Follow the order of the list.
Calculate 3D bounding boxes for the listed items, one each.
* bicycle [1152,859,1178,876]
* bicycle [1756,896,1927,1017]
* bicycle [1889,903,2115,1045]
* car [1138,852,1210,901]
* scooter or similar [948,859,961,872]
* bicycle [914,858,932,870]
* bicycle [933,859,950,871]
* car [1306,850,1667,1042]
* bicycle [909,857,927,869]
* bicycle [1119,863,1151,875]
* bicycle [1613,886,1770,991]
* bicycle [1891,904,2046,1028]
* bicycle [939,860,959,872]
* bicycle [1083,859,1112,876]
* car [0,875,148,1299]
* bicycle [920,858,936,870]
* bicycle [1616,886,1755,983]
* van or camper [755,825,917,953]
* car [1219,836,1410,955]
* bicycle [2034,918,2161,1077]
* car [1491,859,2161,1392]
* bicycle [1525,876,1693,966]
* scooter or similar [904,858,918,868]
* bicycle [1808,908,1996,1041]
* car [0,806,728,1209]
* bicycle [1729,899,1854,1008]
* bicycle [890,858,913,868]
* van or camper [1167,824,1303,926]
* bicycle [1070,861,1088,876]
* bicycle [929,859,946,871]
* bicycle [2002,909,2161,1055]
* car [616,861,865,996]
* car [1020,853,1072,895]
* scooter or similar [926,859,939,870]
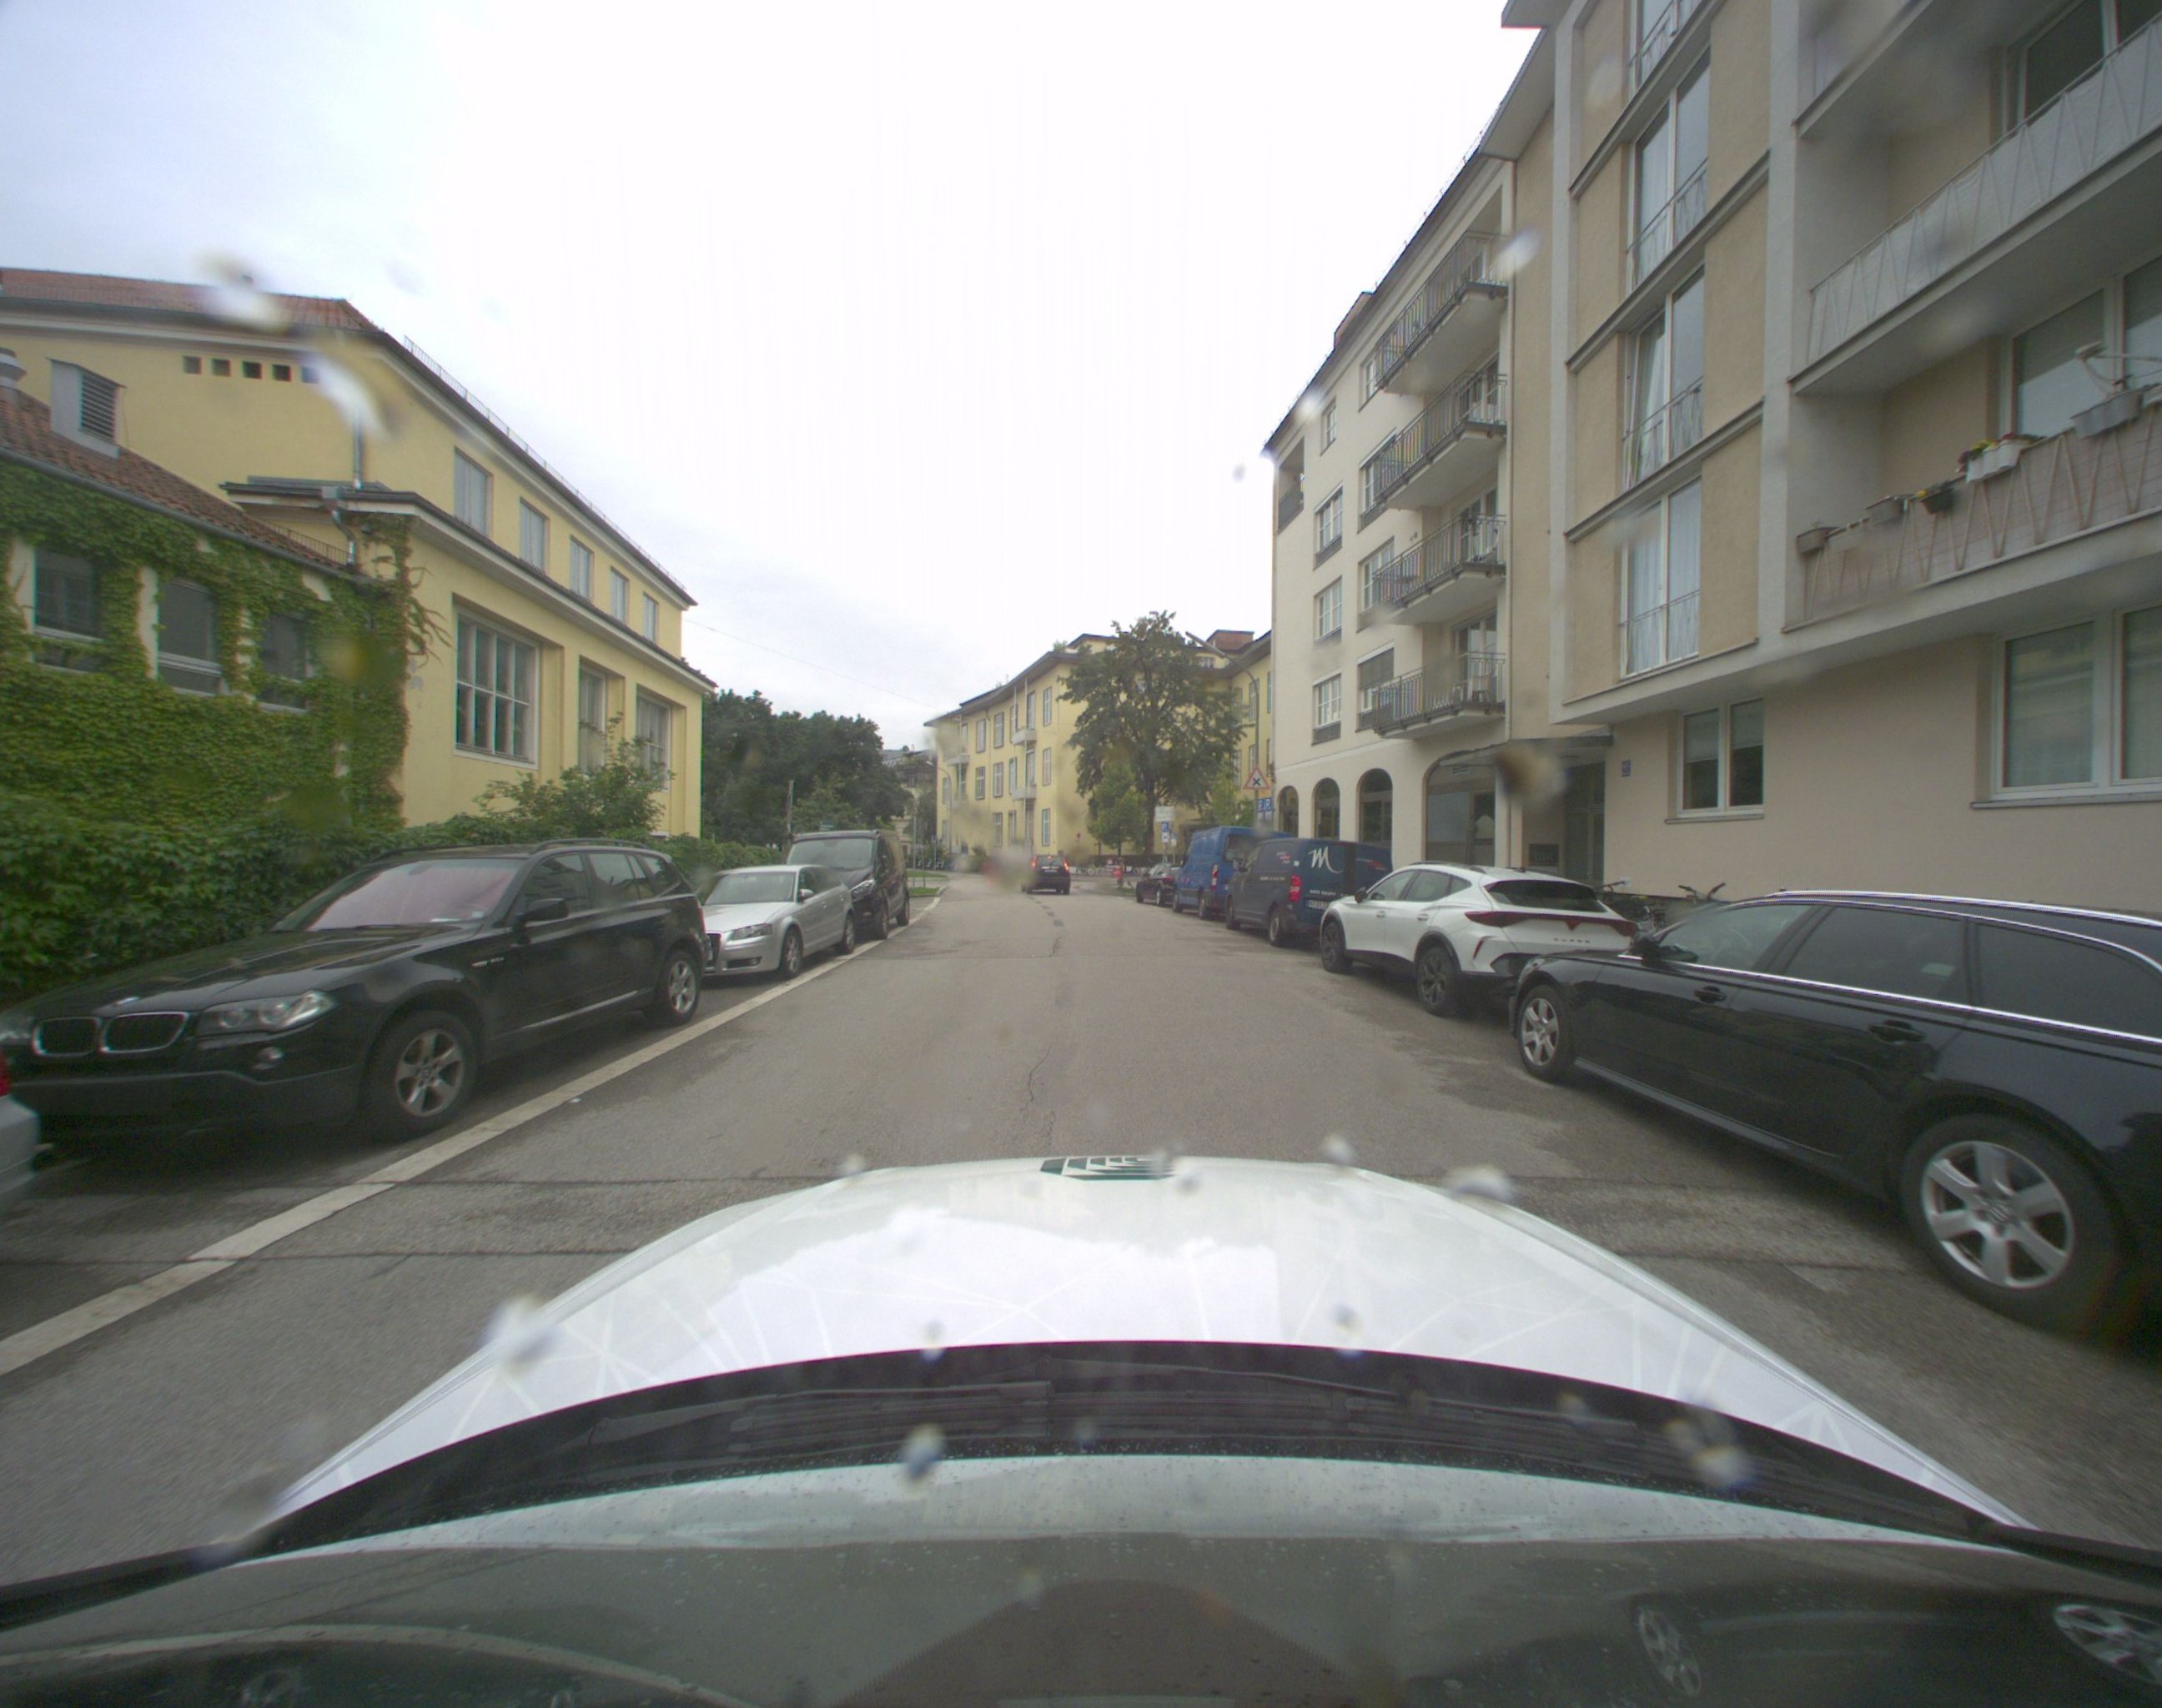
[{"bbox_3d":[5.963,0.960,57.678,1.730,1.150,0.610,1,0,-2],"label":"bicycle"},{"bbox_3d":[8.245,1.067,8.909,0.531,1.133,1.407,0,0,-3],"label":"bicycle"},{"bbox_3d":[7.926,0.985,7.095,0.388,1.023,1.401,-1,0,1],"label":"bicycle"},{"bbox_3d":[3.035,0.698,27.342,1.700,1.518,3.953,1,0,-4],"label":"car"},{"bbox_3d":[-11.582,1.031,74.445,0.491,1.109,1.417,0,0,22],"label":"scooter or similar"},{"bbox_3d":[-15.421,0.969,79.582,0.690,1.085,2.350,0,0,18],"label":"bicycle"},{"bbox_3d":[-13.280,1.040,77.785,0.570,1.085,1.945,0,0,26],"label":"bicycle"},{"bbox_3d":[4.272,0.833,9.499,1.736,1.537,4.267,5,1,-5],"label":"car"},{"bbox_3d":[-16.257,0.883,81.279,0.756,1.085,2.151,0,0,18],"label":"bicycle"},{"bbox_3d":[3.808,1.061,57.585,2.194,0.779,0.612,0,0,14],"label":"bicycle"},{"bbox_3d":[7.572,1.003,10.151,0.722,1.133,1.414,1,0,-35],"label":"bicycle"},{"bbox_3d":[8.342,1.024,7.699,0.372,1.023,1.002,-1,0,1],"label":"bicycle"},{"bbox_3d":[-12.271,1.112,75.675,1.836,1.005,0.571,-1,0,-34],"label":"bicycle"},{"bbox_3d":[1.185,0.966,58.835,2.189,1.117,0.614,0,0,42],"label":"bicycle"},{"bbox_3d":[-4.580,0.868,0.963,1.695,1.422,4.425,-5,0,1],"label":"car"},{"bbox_3d":[-14.849,0.970,78.904,0.632,1.085,1.995,0,0,18],"label":"bicycle"},{"bbox_3d":[8.030,1.030,10.861,0.536,1.133,1.394,-1,1,-35],"label":"bicycle"},{"bbox_3d":[-4.591,0.581,16.049,1.957,2.065,4.747,-2,0,-4],"label":"van or camper"},{"bbox_3d":[4.125,0.654,15.398,1.959,1.816,4.931,2,0,-3],"label":"car"},{"bbox_3d":[7.562,1.010,5.602,0.388,1.023,1.401,-1,0,1],"label":"bicycle"},{"bbox_3d":[4.054,0.836,4.136,1.732,1.499,4.497,3,0,2],"label":"car"},{"bbox_3d":[7.991,0.968,12.505,1.143,1.186,2.206,1,0,-1],"label":"bicycle"},{"bbox_3d":[-17.801,0.945,85.202,1.407,1.088,0.594,0,0,-14],"label":"scooter or similar"},{"bbox_3d":[7.480,1.053,7.497,0.421,1.023,1.302,-1,0,1],"label":"bicycle"},{"bbox_3d":[-4.389,0.697,5.887,1.614,1.730,4.424,-4,0,0],"label":"car"},{"bbox_3d":[7.609,1.030,8.777,0.420,1.023,1.201,-1,0,8],"label":"bicycle"},{"bbox_3d":[-19.125,0.944,86.760,2.349,1.085,0.685,-1,0,-37],"label":"bicycle"},{"bbox_3d":[3.777,0.476,21.183,2.057,2.231,5.429,2,0,-5],"label":"van or camper"},{"bbox_3d":[-0.153,1.055,60.953,0.611,1.072,2.201,0,0,-22],"label":"bicycle"},{"bbox_3d":[-13.820,1.054,78.297,0.570,1.085,1.945,0,0,26],"label":"bicycle"},{"bbox_3d":[8.318,0.998,6.483,0.388,1.023,1.401,-1,0,1],"label":"bicycle"},{"bbox_3d":[-4.315,0.843,11.071,1.614,1.378,4.071,-2,0,0],"label":"car"},{"bbox_3d":[-1.576,0.828,35.075,1.993,1.694,4.370,0,0,-6],"label":"car"},{"bbox_3d":[-14.316,1.026,78.610,0.491,1.088,1.417,0,0,22],"label":"scooter or similar"}]
